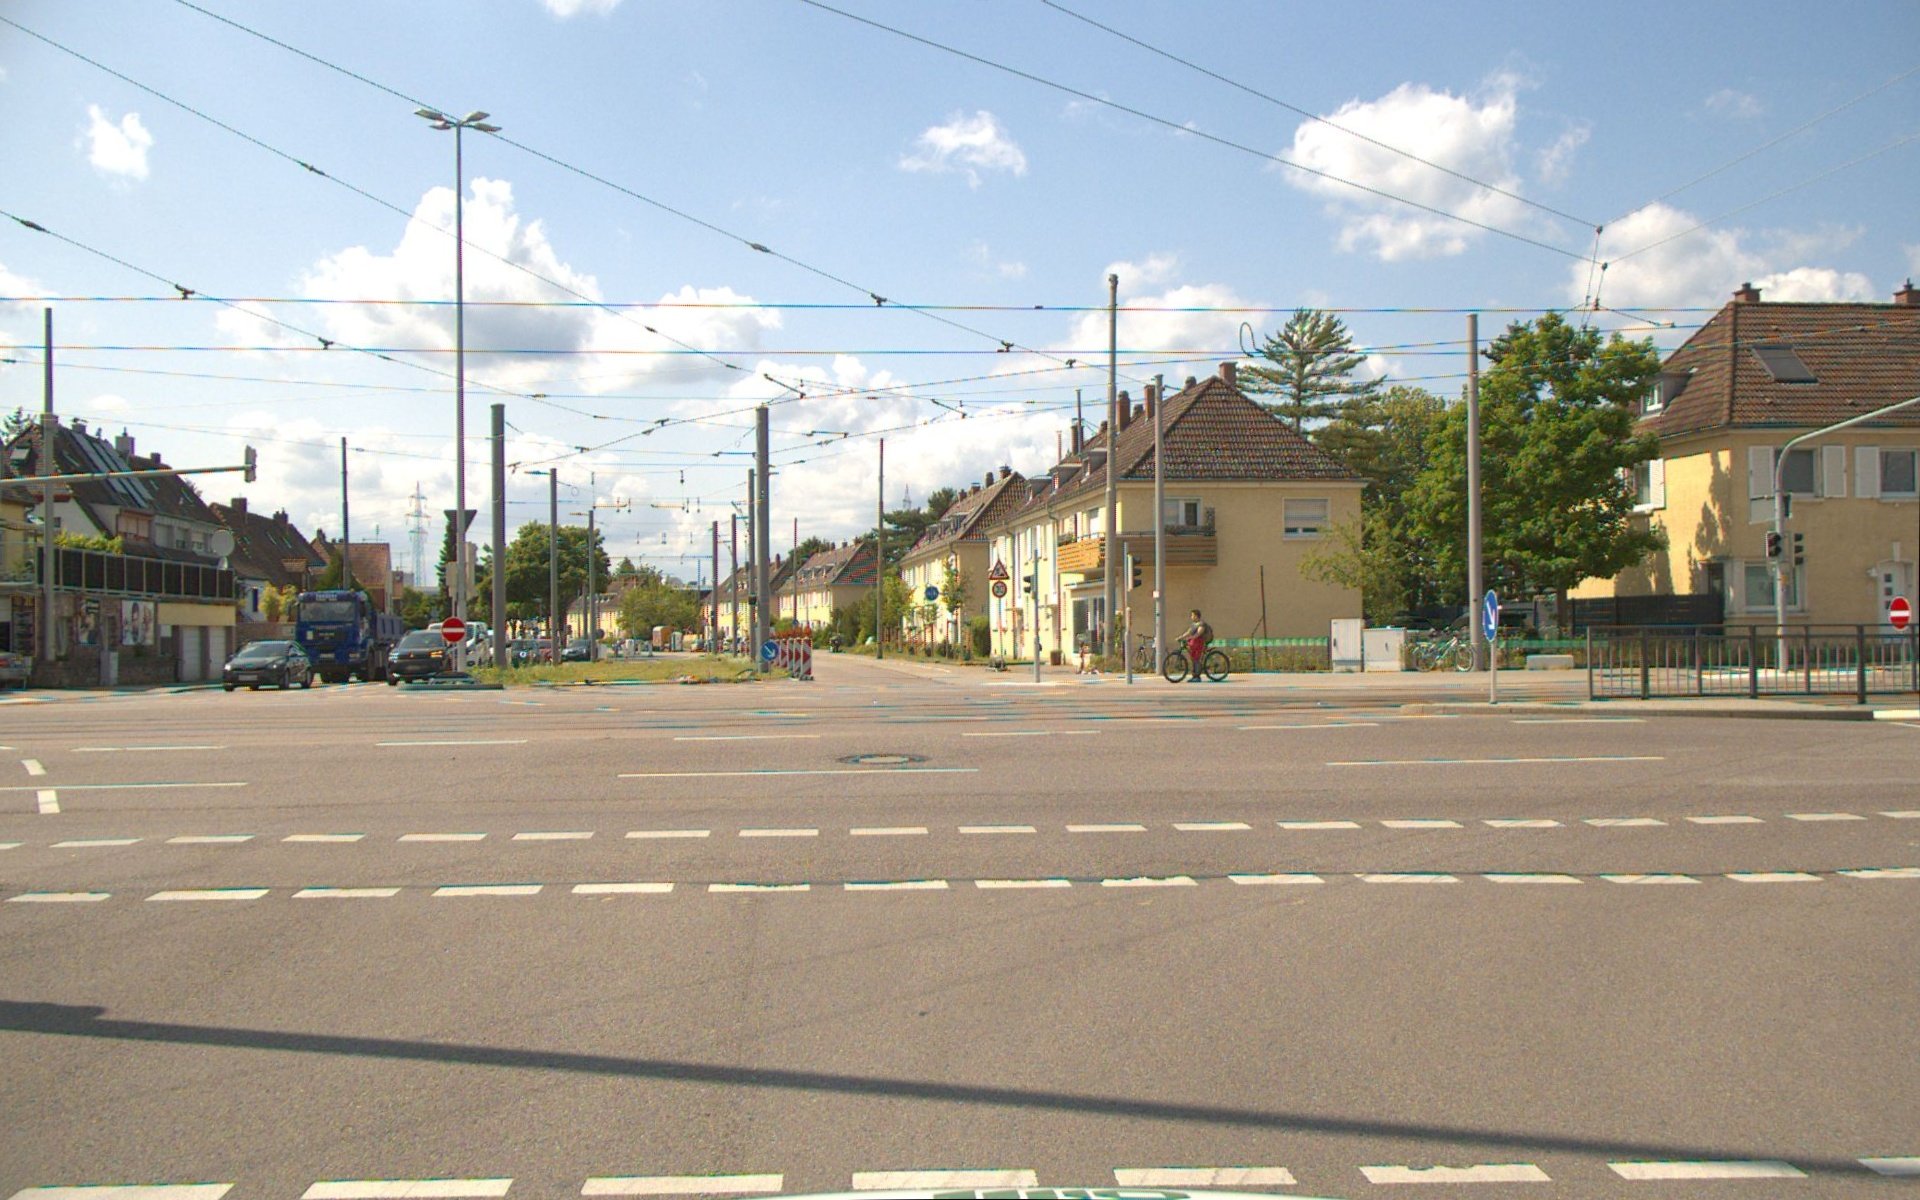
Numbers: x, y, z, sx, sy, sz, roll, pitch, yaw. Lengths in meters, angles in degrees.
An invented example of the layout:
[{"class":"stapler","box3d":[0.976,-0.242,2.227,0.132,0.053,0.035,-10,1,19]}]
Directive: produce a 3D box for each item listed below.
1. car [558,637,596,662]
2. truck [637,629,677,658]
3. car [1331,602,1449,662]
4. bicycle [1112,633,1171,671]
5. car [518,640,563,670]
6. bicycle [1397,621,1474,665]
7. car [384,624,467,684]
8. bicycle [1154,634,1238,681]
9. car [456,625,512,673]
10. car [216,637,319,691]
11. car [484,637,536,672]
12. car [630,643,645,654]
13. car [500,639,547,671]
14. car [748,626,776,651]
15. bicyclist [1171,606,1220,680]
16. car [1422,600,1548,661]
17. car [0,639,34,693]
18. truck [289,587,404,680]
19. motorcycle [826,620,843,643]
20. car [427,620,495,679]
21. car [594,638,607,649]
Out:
[{"class":"car","box3d":[-26.940,3.463,116.390,1.782,1.579,3.999,-1,0,-1]},{"class":"truck","box3d":[-38.314,5.493,209.172,2.608,3.555,9.359,-1,-1,-25]},{"class":"car","box3d":[12.767,0.993,49.393,1.790,1.649,3.987,-1,-2,-12]},{"class":"bicycle","box3d":[5.364,1.542,49.090,0.586,1.116,2.256,0,-2,-27]},{"class":"car","box3d":[-22.219,2.899,87.721,1.809,1.520,4.845,-1,-1,-9]},{"class":"bicycle","box3d":[12.258,1.113,42.668,1.772,1.124,0.699,-2,-1,37]},{"class":"car","box3d":[-16.799,1.669,52.171,1.753,1.751,4.432,-1,0,-9]},{"class":"bicycle","box3d":[5.862,1.422,41.069,2.003,1.121,0.709,0,-2,-28]},{"class":"car","box3d":[-19.069,1.962,66.357,1.701,1.813,4.393,-1,-1,-10]},{"class":"car","box3d":[-21.069,1.923,50.488,1.793,1.513,4.326,-1,-1,-8]},{"class":"car","box3d":[-19.831,2.403,73.007,1.880,1.444,3.990,-1,-1,-10]},{"class":"car","box3d":[-43.101,6.461,221.039,1.242,1.451,2.643,-1,-1,-26]},{"class":"car","box3d":[-20.980,2.621,79.624,1.810,1.438,4.904,-1,-1,-10]},{"class":"car","box3d":[-17.979,3.454,149.864,2.029,2.187,4.863,-1,-1,-12]},{"class":"bicyclist","box3d":[5.836,1.056,41.042,0.946,1.806,0.713,0,-2,-27]},{"class":"car","box3d":[15.538,0.940,49.158,1.790,1.649,3.987,-1,-2,-12]},{"class":"car","box3d":[-28.853,1.855,47.056,4.060,1.520,1.431,1,-1,-11]},{"class":"truck","box3d":[-22.859,1.265,62.024,2.718,3.244,7.562,-1,-1,-10]},{"class":"motorcycle","box3d":[-9.472,2.405,124.987,1.047,1.664,2.078,-1,-1,-10]},{"class":"car","box3d":[-17.609,1.734,58.553,1.781,1.955,4.736,-1,-1,-10]},{"class":"car","box3d":[-52.190,6.294,239.995,1.243,1.451,2.641,-1,-1,-27]}]
